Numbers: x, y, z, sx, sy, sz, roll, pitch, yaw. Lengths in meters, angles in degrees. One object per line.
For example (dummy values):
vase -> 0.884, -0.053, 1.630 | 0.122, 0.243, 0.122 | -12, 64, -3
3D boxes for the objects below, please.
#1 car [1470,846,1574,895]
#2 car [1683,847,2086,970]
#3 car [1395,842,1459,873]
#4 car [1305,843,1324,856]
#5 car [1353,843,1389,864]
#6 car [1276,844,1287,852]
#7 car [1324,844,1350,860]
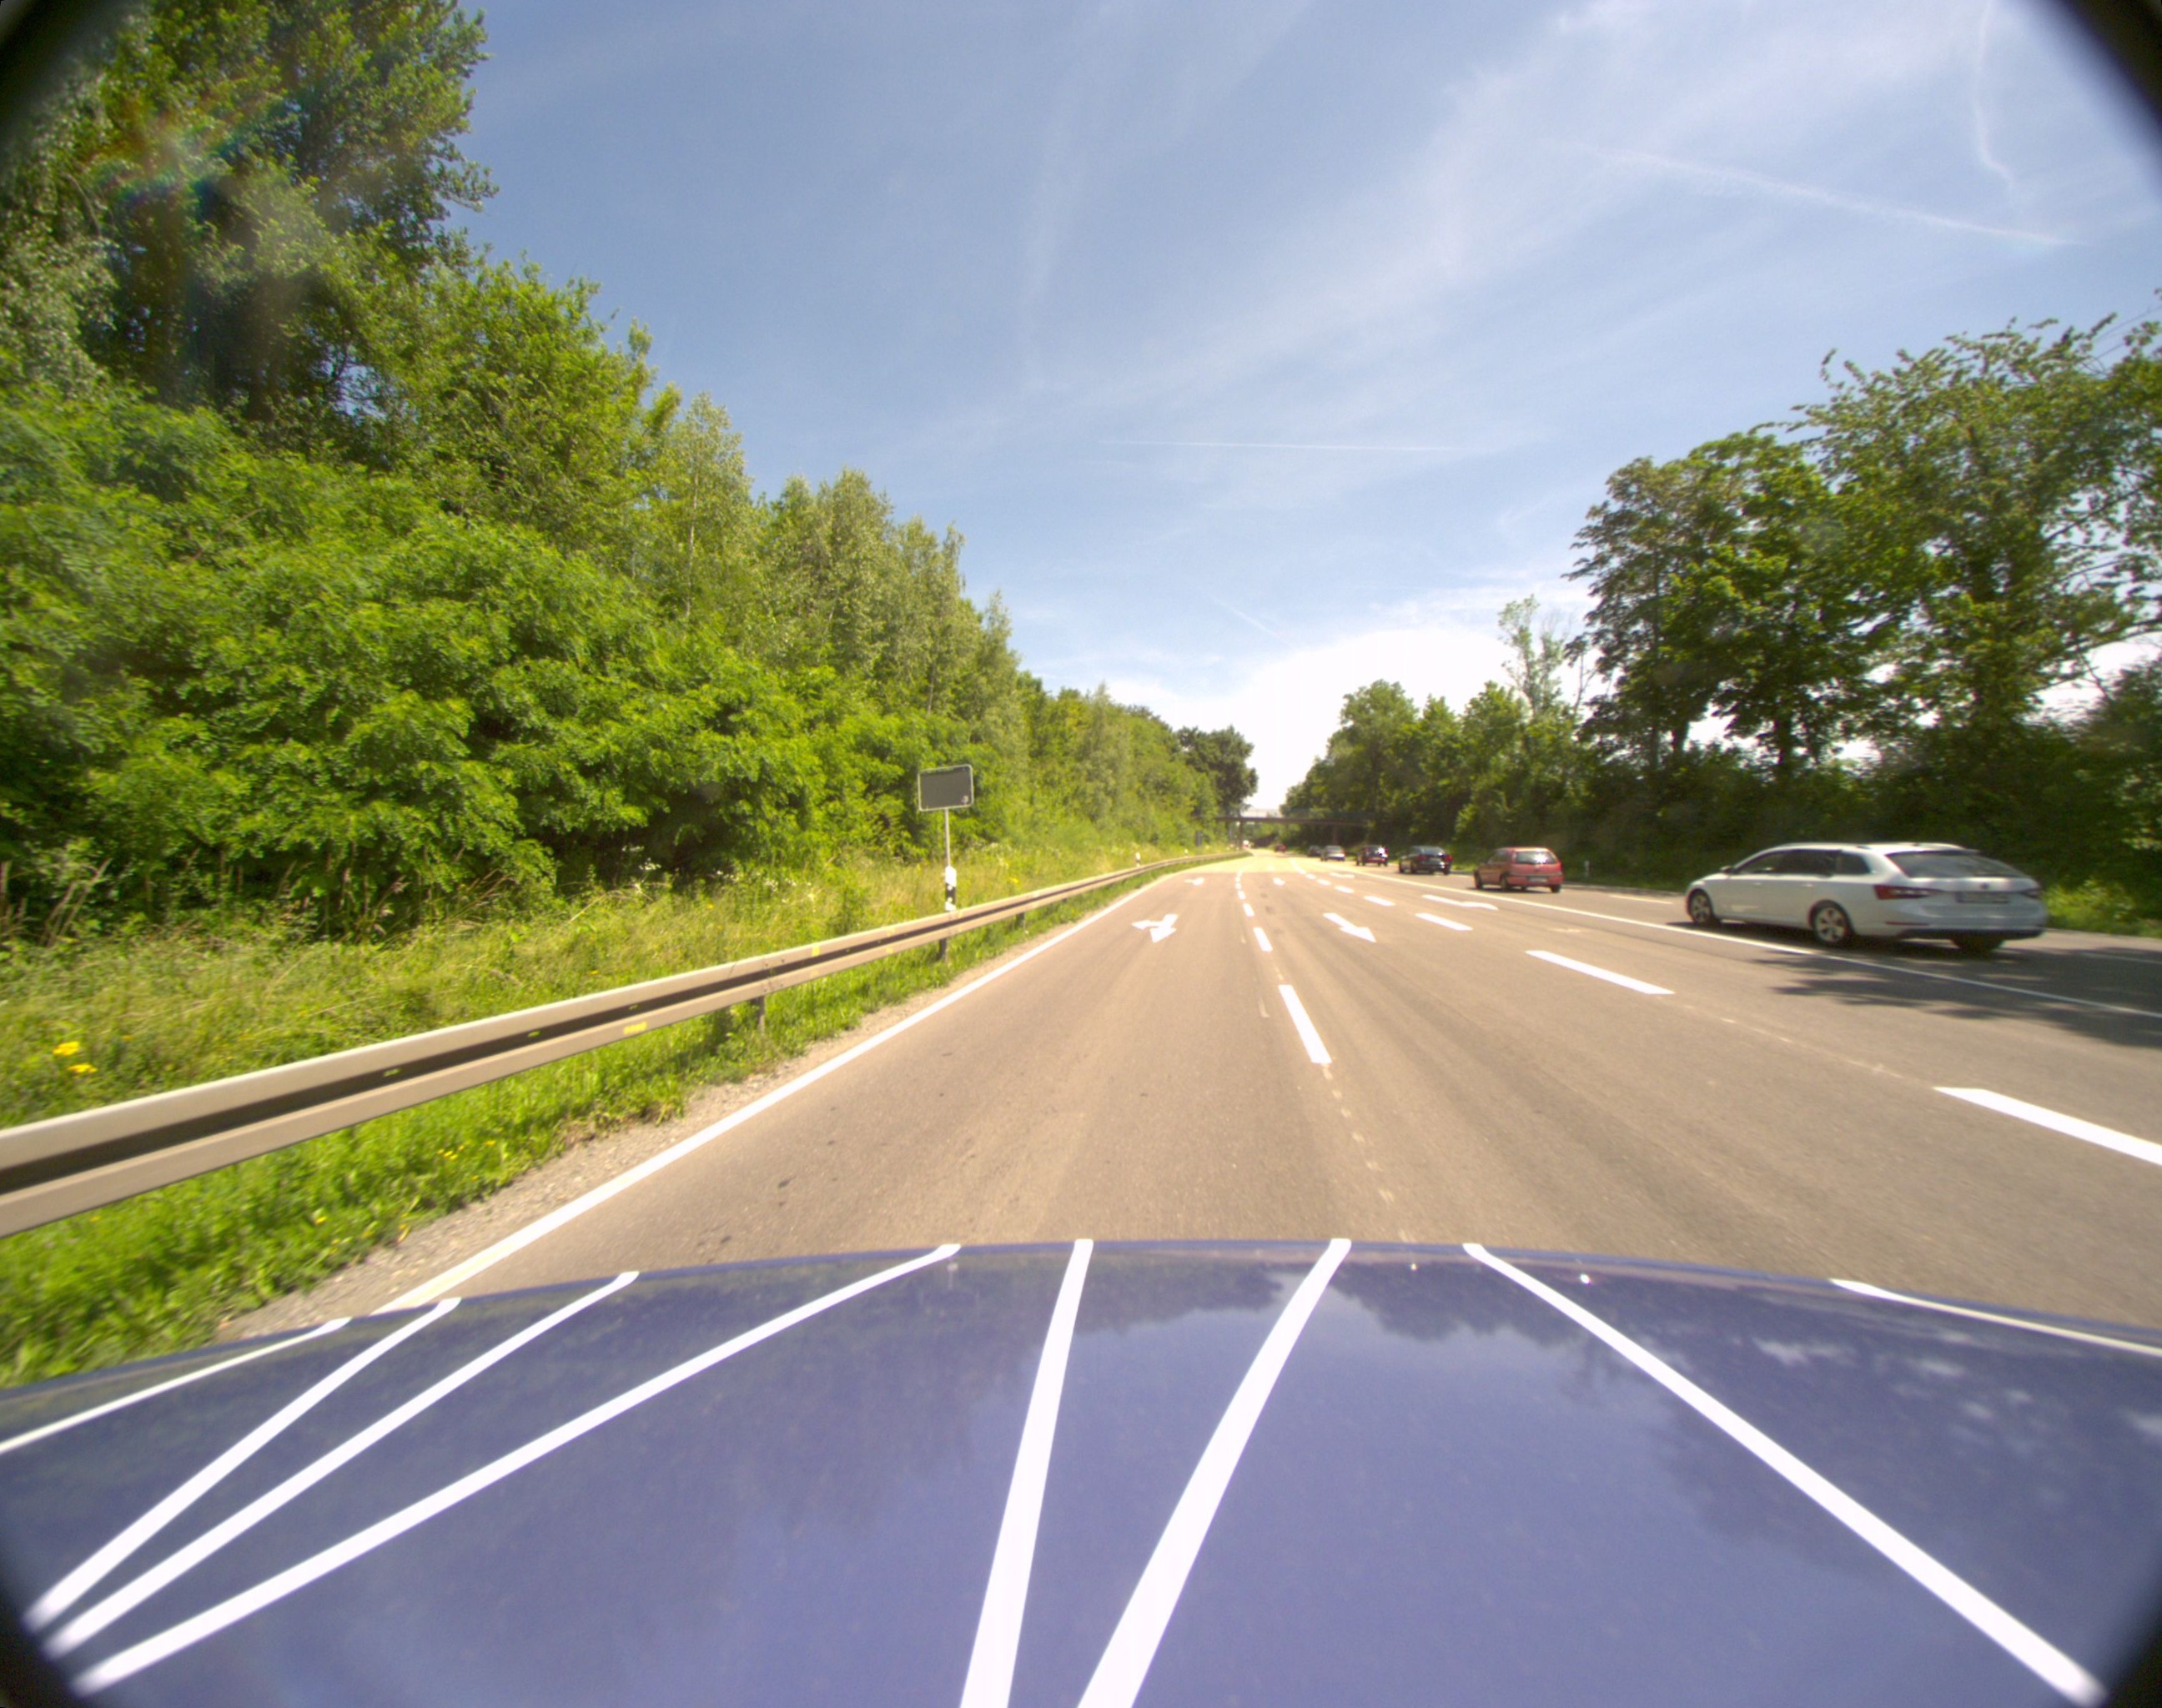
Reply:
car -> 14.179, 0.471, 24.666 | 1.770, 1.437, 3.778 | 0, 1, 11
car -> 11.349, 0.629, 11.337 | 1.703, 1.407, 4.565 | 0, 1, 9
car -> 17.976, 0.179, 39.730 | 1.922, 1.472, 4.691 | 1, 0, 10
car -> 28.414, -0.552, 92.478 | 1.770, 1.378, 4.002 | -1, 1, 10
car -> 21.075, -0.037, 55.341 | 1.644, 1.430, 4.019 | -1, 1, 9
car -> 38.166, -1.171, 144.800 | 1.906, 1.500, 3.768 | 0, 1, 12
car -> 23.666, -0.212, 70.384 | 1.770, 1.378, 4.002 | -1, 1, 10
